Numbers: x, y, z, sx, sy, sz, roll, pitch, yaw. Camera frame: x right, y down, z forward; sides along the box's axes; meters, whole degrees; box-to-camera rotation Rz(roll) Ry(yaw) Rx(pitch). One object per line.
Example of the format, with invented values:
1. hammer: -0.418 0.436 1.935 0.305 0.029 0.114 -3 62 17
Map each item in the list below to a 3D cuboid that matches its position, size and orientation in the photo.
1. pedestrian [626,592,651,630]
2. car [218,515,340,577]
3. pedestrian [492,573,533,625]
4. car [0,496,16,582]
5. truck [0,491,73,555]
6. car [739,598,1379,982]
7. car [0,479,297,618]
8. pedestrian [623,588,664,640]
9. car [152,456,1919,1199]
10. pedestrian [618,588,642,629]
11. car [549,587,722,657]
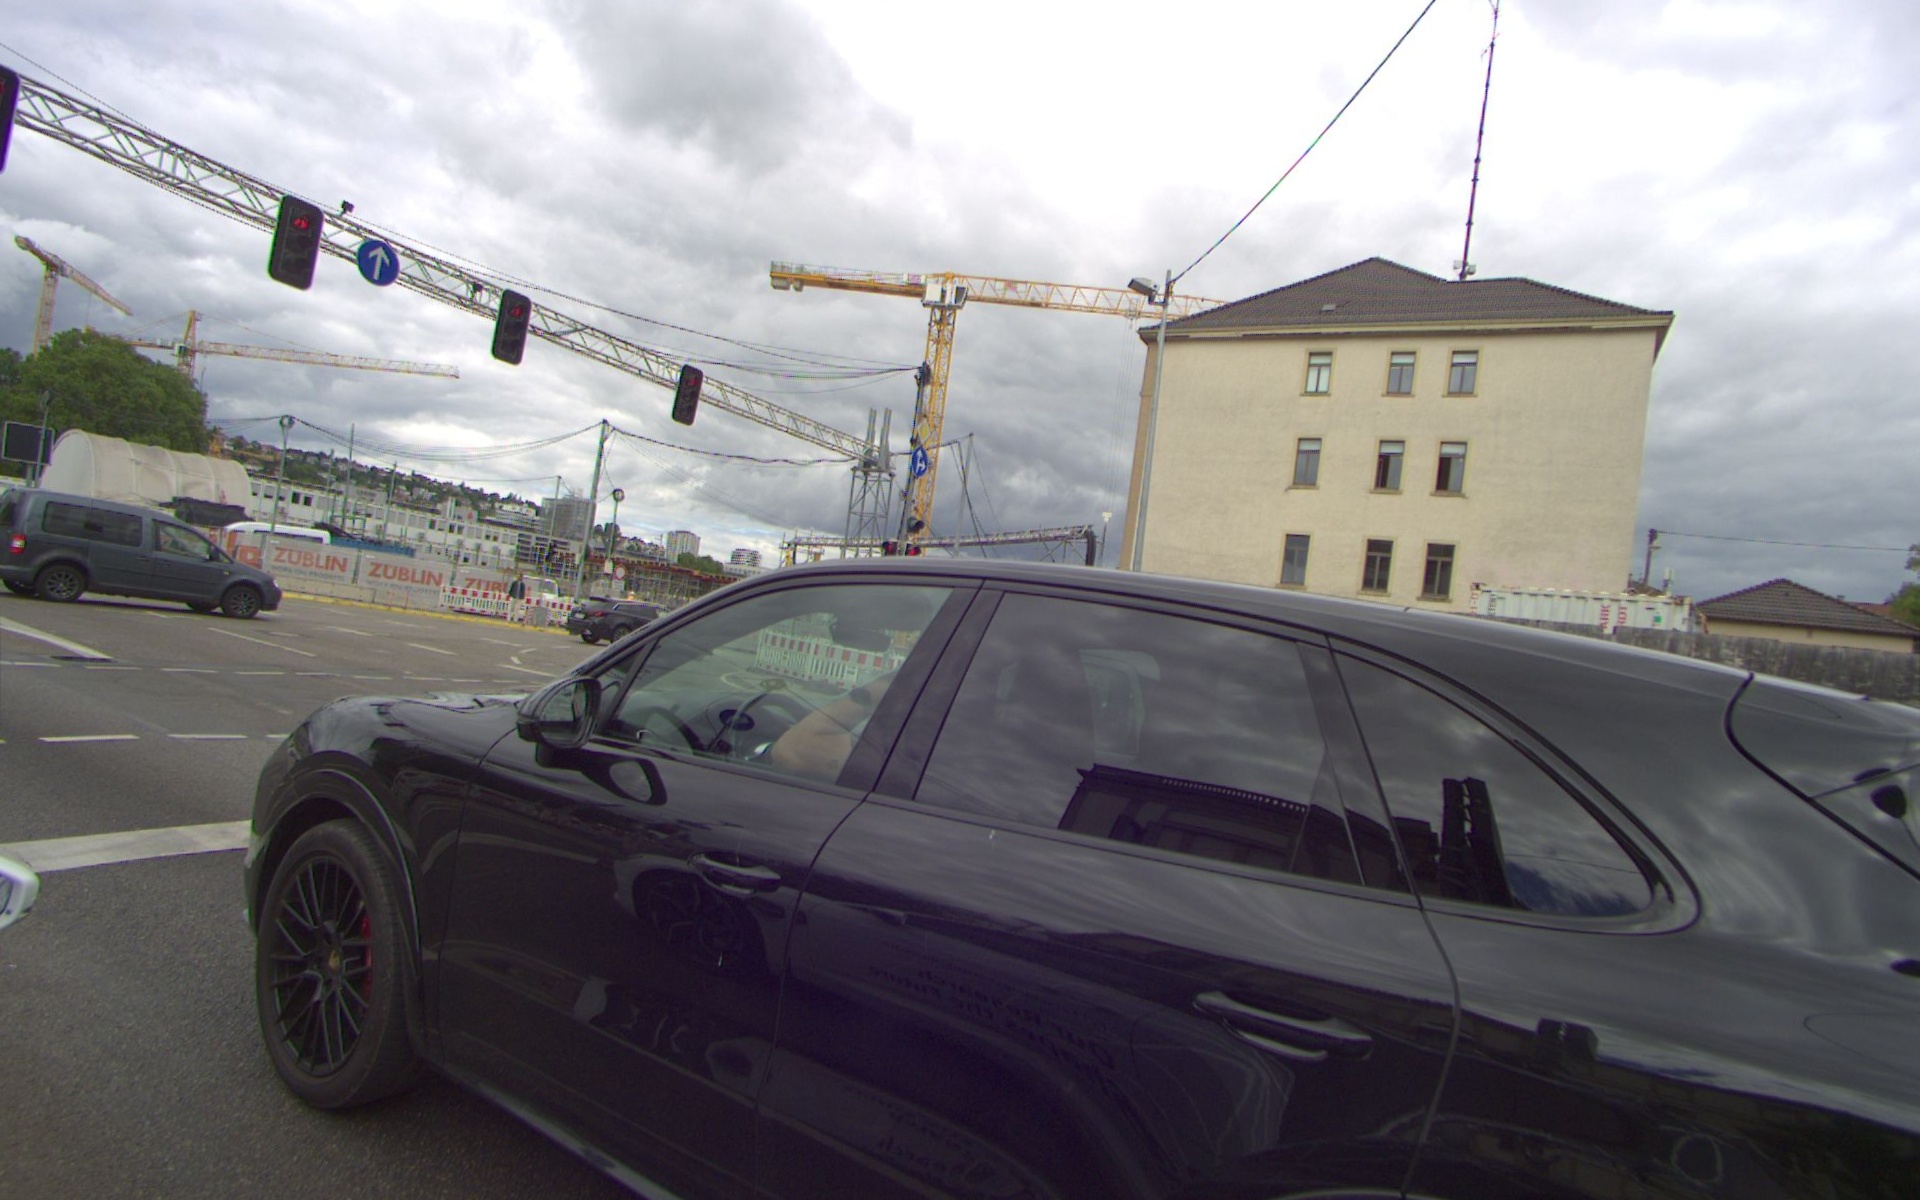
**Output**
1. pedestrian: -17.536 0.598 54.826 0.850 1.938 0.680 7 -1 26
2. car: -29.524 -2.326 43.652 3.976 2.037 1.976 9 -2 -43
3. pedestrian: -17.416 -0.053 39.158 1.040 1.869 0.781 8 -1 -42
4. car: -19.409 -1.397 17.303 1.965 1.565 4.118 6 -2 28
5. truck: -55.011 -4.631 57.190 2.322 3.182 6.613 7 -2 9
6. car: 0.574 0.997 6.557 3.587 1.527 1.825 6 -2 33
7. car: -14.885 -0.867 18.198 1.967 1.826 4.279 6 -2 31
8. pedestrian: -13.234 0.590 42.111 1.015 2.037 1.047 7 -1 18
9. car: -0.008 0.688 2.720 4.505 1.687 1.996 6 -2 34
10. pedestrian: -17.638 0.446 53.833 0.855 2.037 0.677 6 -1 44
11. car: -9.720 0.691 30.362 1.974 1.483 4.484 6 -3 43
